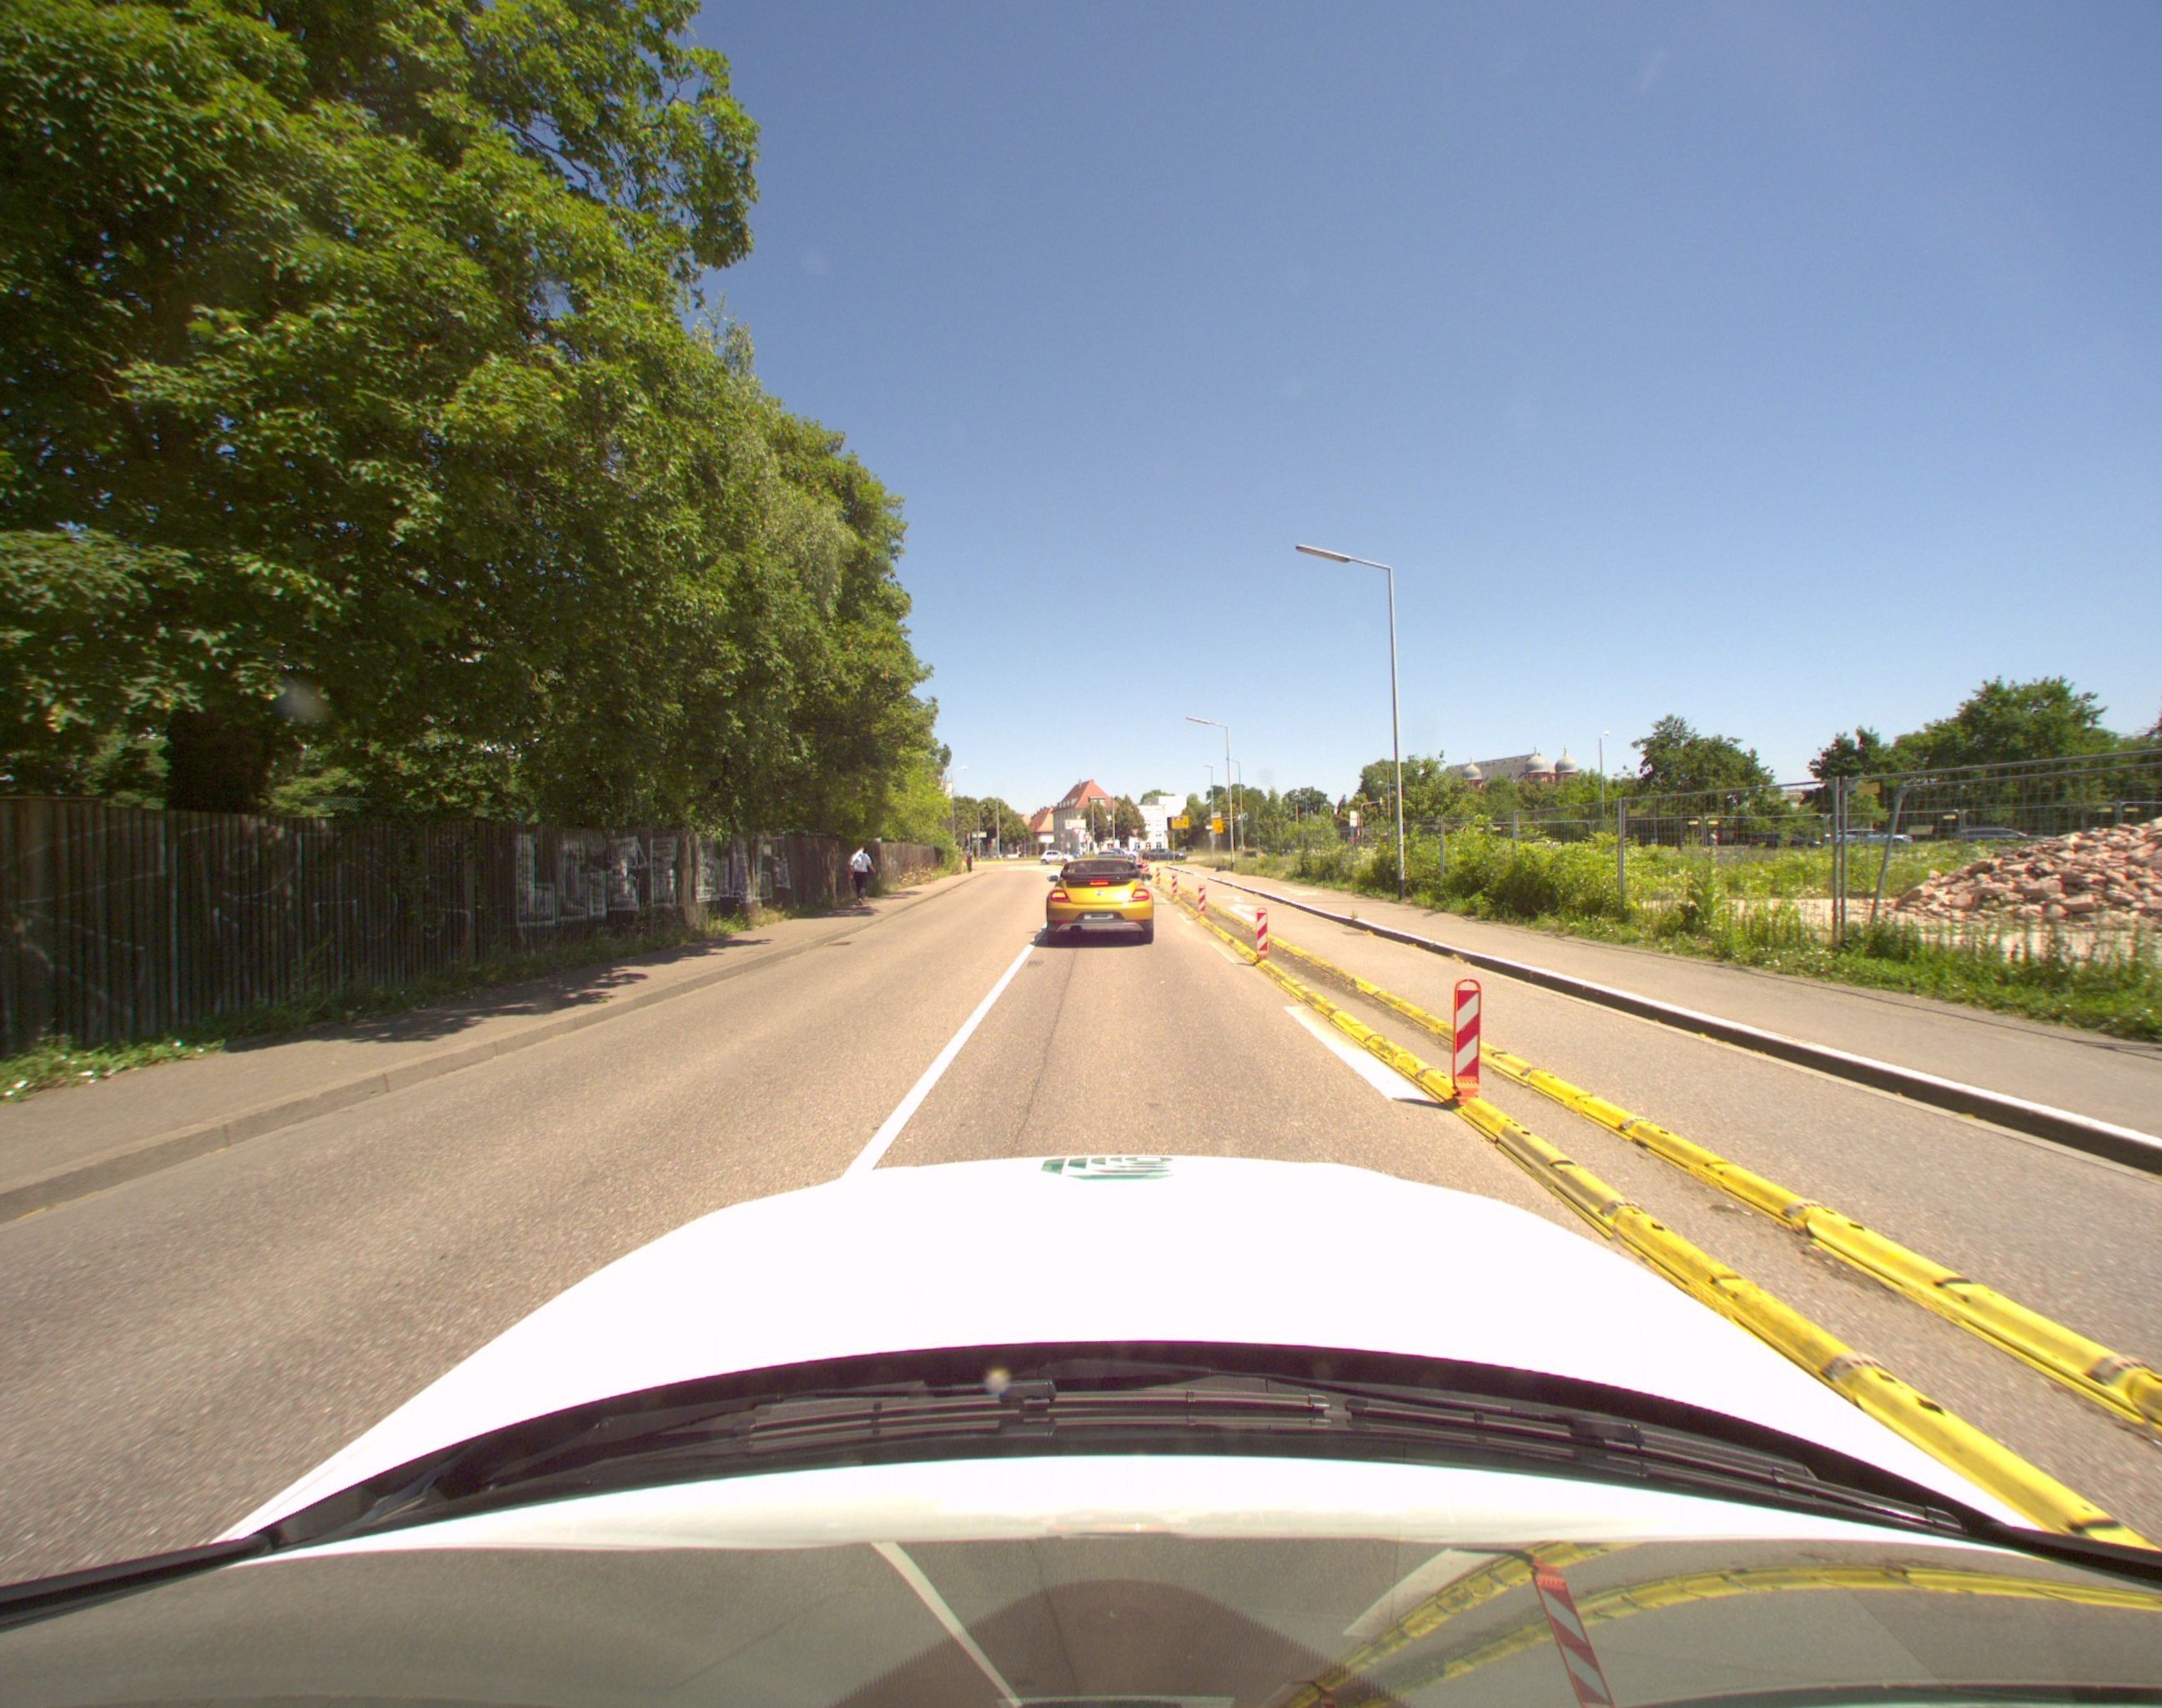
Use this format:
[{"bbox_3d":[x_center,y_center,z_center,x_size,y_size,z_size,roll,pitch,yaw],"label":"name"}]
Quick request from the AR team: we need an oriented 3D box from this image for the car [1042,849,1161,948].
[{"bbox_3d":[0.330,0.678,14.476,1.784,1.436,3.813,-3,1,0],"label":"car"}]

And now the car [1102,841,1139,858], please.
[{"bbox_3d":[4.594,-0.502,94.115,4.048,1.743,1.571,-3,1,10],"label":"car"}]

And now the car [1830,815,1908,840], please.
[{"bbox_3d":[57.578,-1.920,59.547,1.895,1.585,3.951,-3,1,-43],"label":"car"}]

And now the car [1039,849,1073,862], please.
[{"bbox_3d":[-2.683,0.144,87.381,3.417,1.275,1.205,-3,1,8],"label":"car"}]

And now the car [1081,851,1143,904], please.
[{"bbox_3d":[0.963,0.676,25.564,1.720,1.443,4.002,-3,1,2],"label":"car"}]

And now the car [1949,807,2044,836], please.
[{"bbox_3d":[59.184,-2.081,52.772,1.852,1.618,4.010,-3,1,-43],"label":"car"}]

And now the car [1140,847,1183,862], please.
[{"bbox_3d":[8.504,0.016,85.574,4.416,1.358,1.540,-3,1,7],"label":"car"}]

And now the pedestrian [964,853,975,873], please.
[{"bbox_3d":[-8.468,0.663,61.783,0.721,1.454,0.817,-3,0,-3],"label":"pedestrian"}]

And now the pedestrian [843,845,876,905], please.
[{"bbox_3d":[-6.577,0.616,24.204,0.721,1.725,0.817,-3,0,-3],"label":"pedestrian"}]
